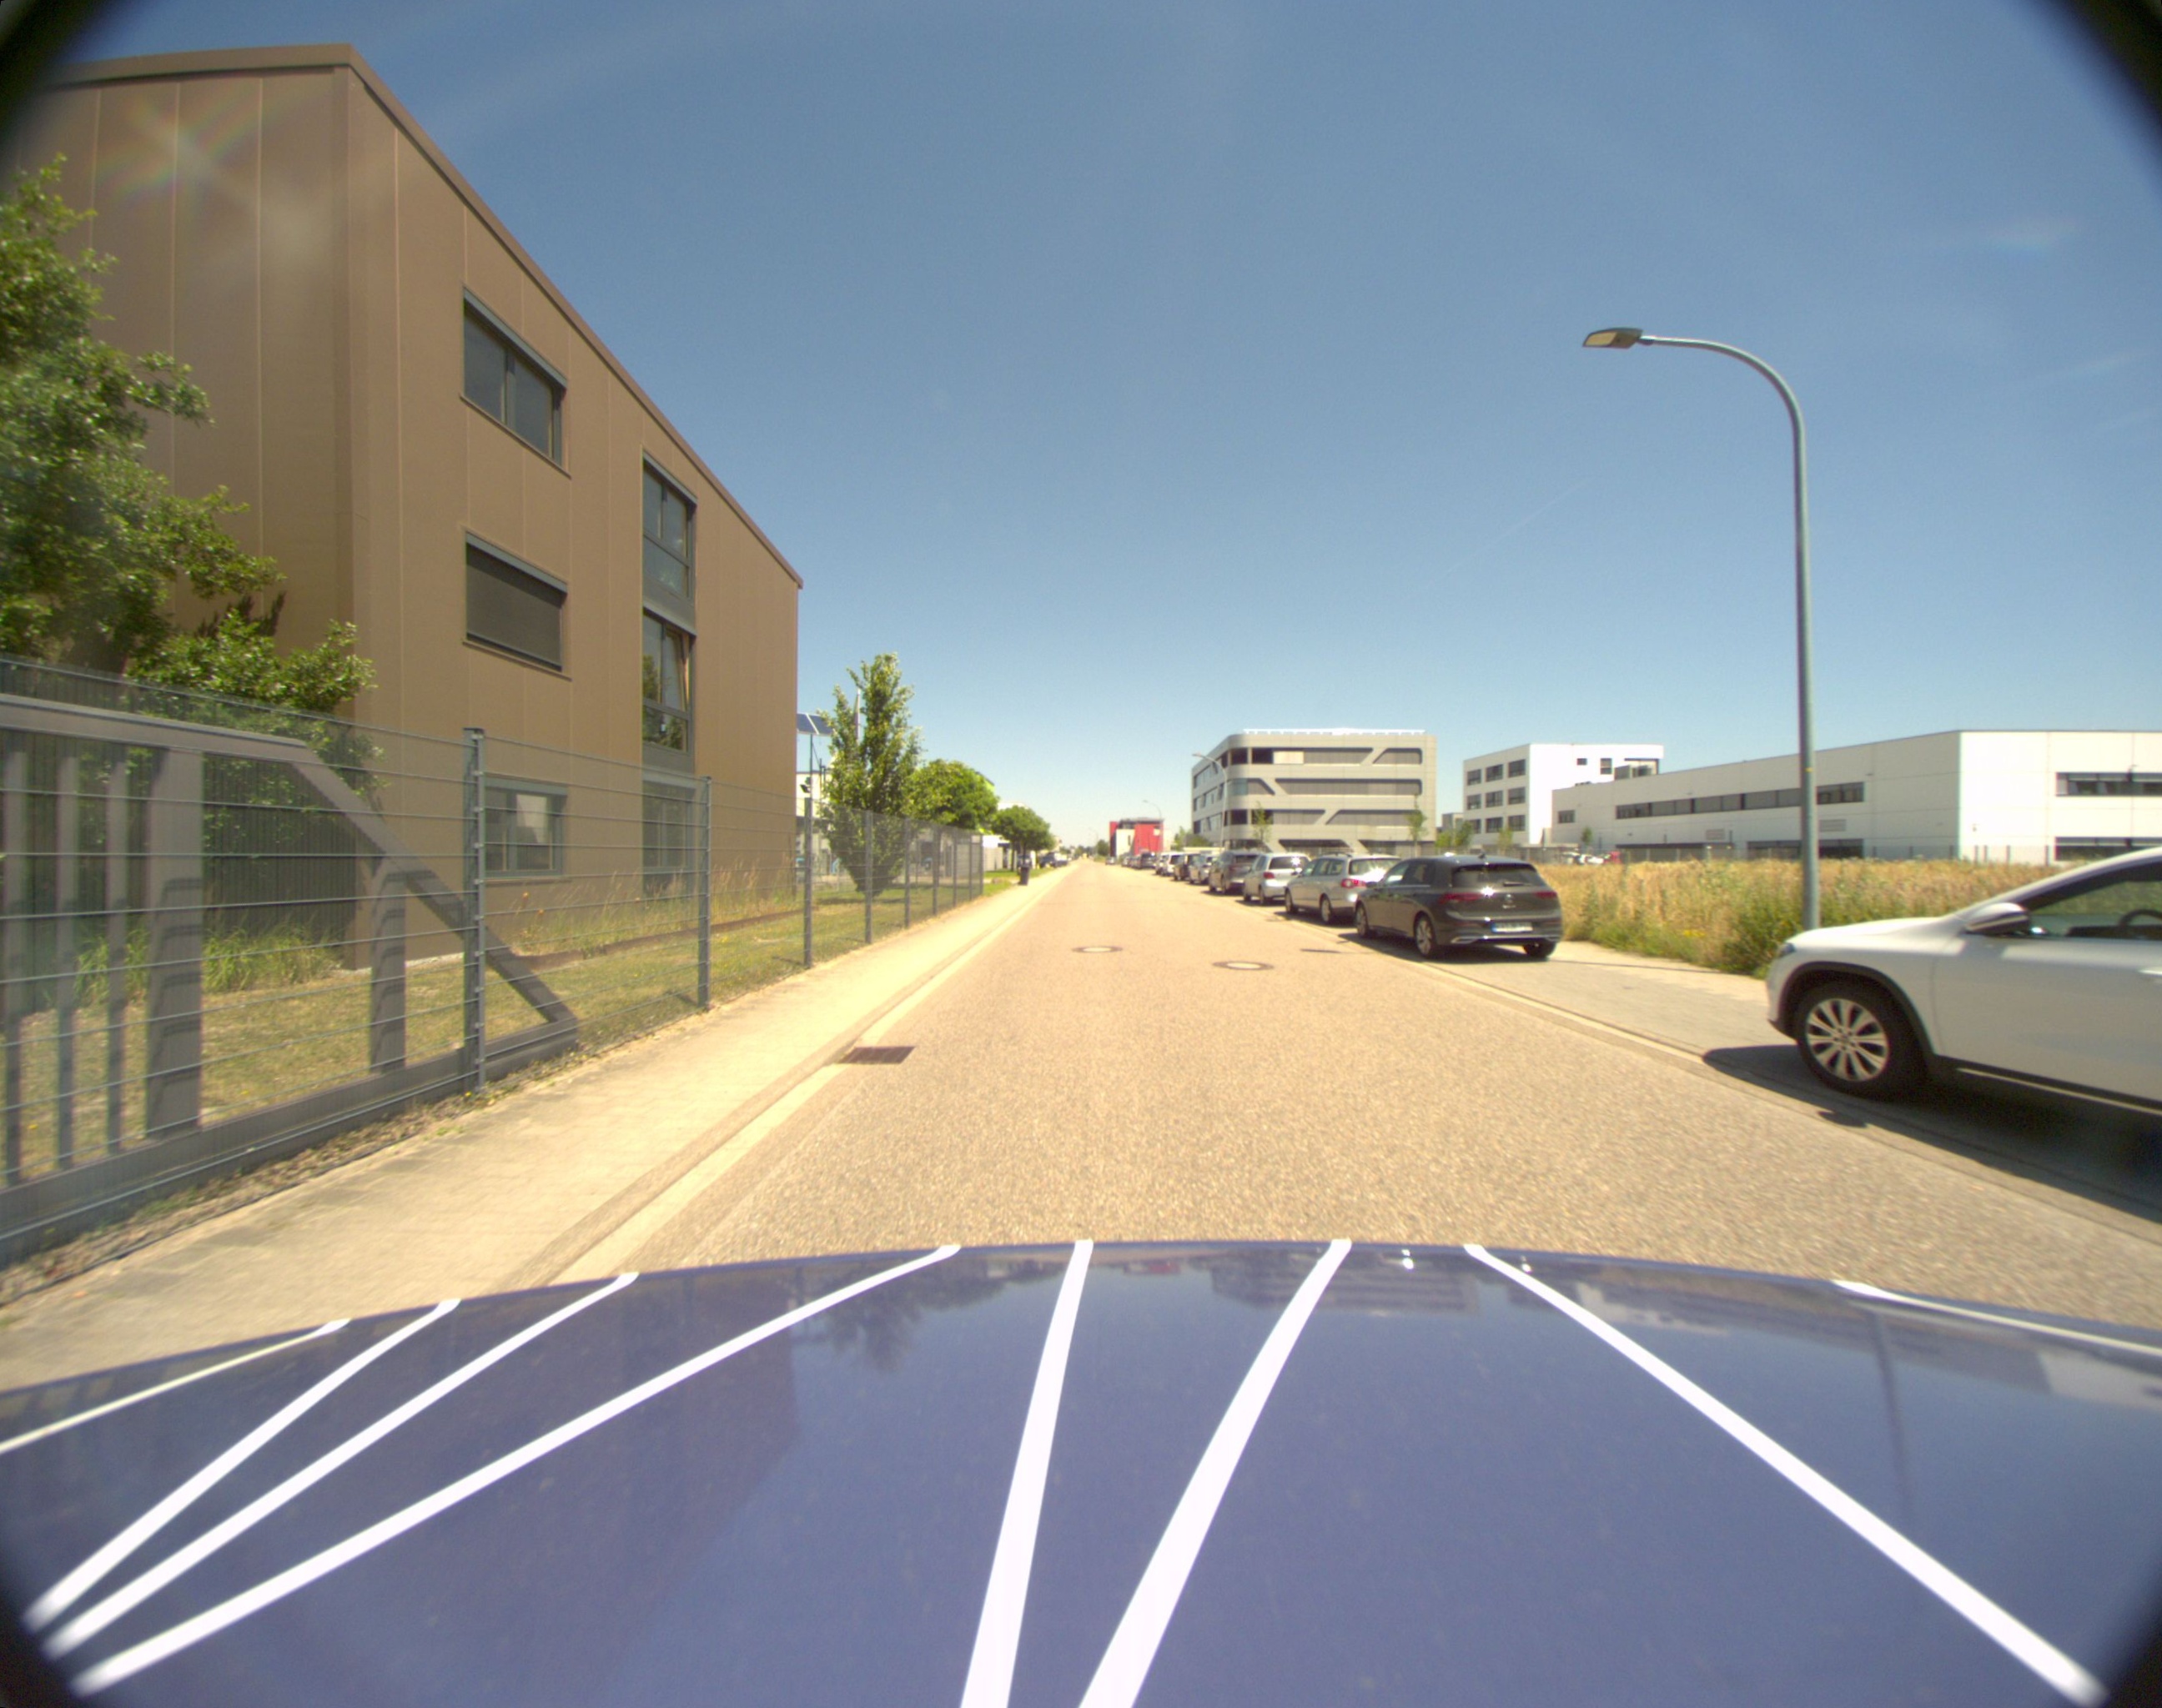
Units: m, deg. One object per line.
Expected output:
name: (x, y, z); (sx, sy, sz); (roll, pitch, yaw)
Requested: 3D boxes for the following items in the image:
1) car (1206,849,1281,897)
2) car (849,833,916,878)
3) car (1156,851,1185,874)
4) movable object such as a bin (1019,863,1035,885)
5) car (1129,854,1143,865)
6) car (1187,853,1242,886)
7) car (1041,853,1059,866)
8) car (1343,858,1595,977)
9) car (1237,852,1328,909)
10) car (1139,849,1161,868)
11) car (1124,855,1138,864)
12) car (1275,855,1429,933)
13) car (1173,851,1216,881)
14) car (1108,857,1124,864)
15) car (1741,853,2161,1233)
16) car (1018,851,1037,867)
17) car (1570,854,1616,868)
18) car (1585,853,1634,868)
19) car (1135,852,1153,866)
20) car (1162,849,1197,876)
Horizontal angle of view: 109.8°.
car: (5.889, 0.647, 28.048); (1.795, 1.597, 4.462); (-1, 0, 0)
car: (-12.120, 0.066, 47.049); (2.135, 2.479, 7.025); (2, 0, 1)
car: (6.355, 0.581, 54.399); (1.791, 1.533, 4.365); (-1, 0, 3)
movable object such as a bin: (-2.413, 0.903, 33.907); (0.553, 0.923, 0.522); (4, 1, 11)
car: (7.307, 0.743, 101.851); (1.688, 1.378, 4.640); (0, -1, 2)
car: (6.296, 0.678, 36.270); (1.768, 1.442, 4.199); (-1, 0, -2)
car: (-3.360, 0.610, 82.969); (1.696, 1.419, 4.246); (-1, 0, 1)
car: (5.763, 0.833, 11.978); (1.861, 1.472, 4.229); (-1, 0, 1)
car: (5.902, 0.716, 22.668); (1.698, 1.516, 3.735); (-1, 0, 0)
car: (6.700, 0.449, 74.419); (1.807, 1.709, 4.622); (-1, 0, 1)
car: (7.262, 0.800, 110.541); (1.704, 1.378, 3.937); (0, -1, -2)
car: (5.935, 0.792, 17.315); (1.779, 1.472, 4.815); (-1, 0, 0)
car: (6.184, 0.625, 41.816); (1.767, 1.508, 4.380); (-1, 0, 0)
car: (6.697, 1.237, 143.568); (1.705, 1.403, 4.791); (0, 0, 20)
car: (5.514, 0.819, 3.140); (1.773, 1.583, 4.359); (-1, 0, 0)
car: (-5.858, 0.546, 83.136); (1.727, 1.623, 4.022); (-1, 0, 1)
car: (58.696, 0.778, 87.132); (3.999, 1.576, 1.921); (1, 0, -6)
car: (57.401, 0.695, 82.525); (3.997, 1.576, 1.922); (1, 0, 1)
car: (7.007, 0.573, 84.763); (1.639, 1.527, 3.658); (-1, 0, 0)
car: (6.380, 0.546, 49.449); (1.791, 1.647, 3.768); (-1, 0, 0)
